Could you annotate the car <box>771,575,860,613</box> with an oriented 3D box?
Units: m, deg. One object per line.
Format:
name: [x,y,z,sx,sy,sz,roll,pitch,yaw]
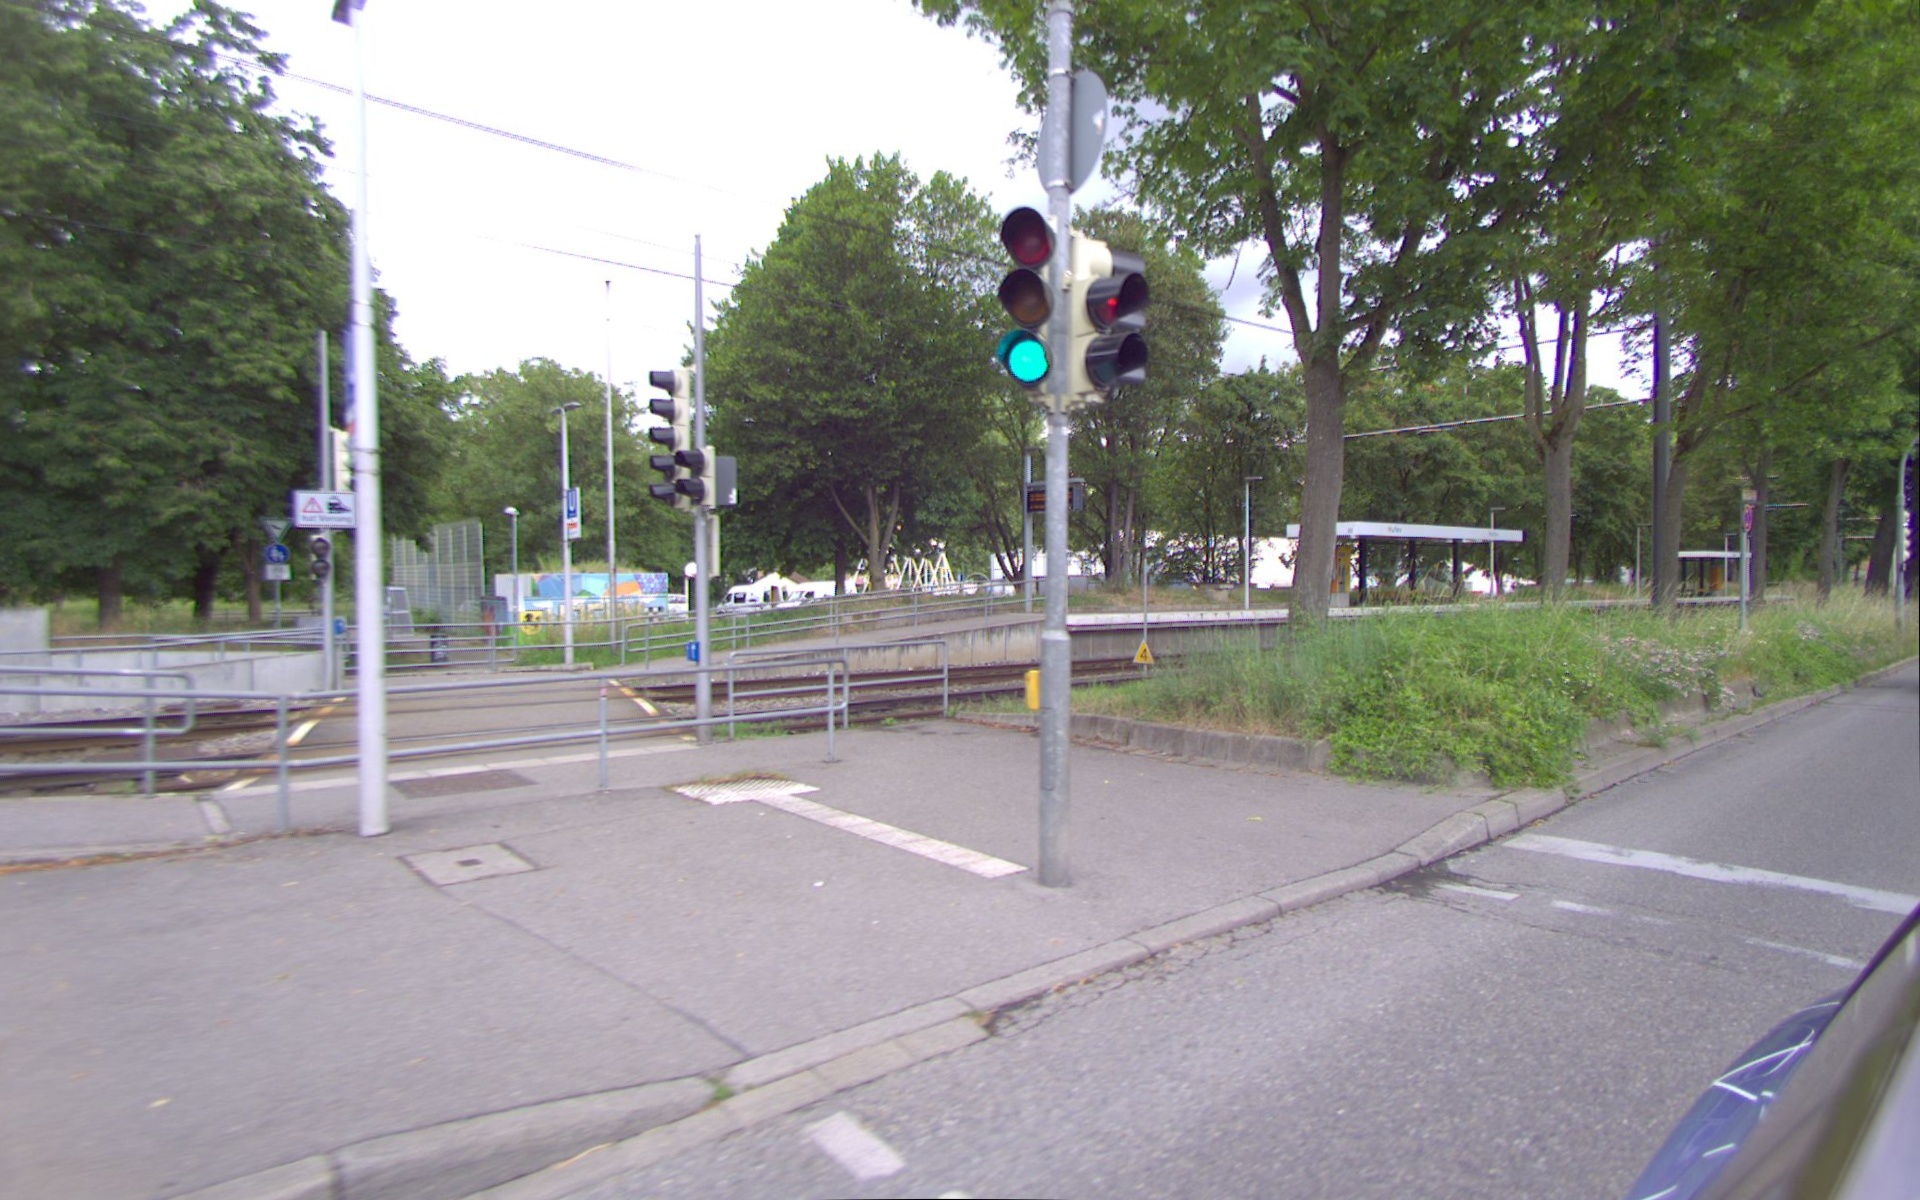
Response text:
car: [-9.621,-0.390,67.587,5.704,2.414,1.997,0,0,-40]
